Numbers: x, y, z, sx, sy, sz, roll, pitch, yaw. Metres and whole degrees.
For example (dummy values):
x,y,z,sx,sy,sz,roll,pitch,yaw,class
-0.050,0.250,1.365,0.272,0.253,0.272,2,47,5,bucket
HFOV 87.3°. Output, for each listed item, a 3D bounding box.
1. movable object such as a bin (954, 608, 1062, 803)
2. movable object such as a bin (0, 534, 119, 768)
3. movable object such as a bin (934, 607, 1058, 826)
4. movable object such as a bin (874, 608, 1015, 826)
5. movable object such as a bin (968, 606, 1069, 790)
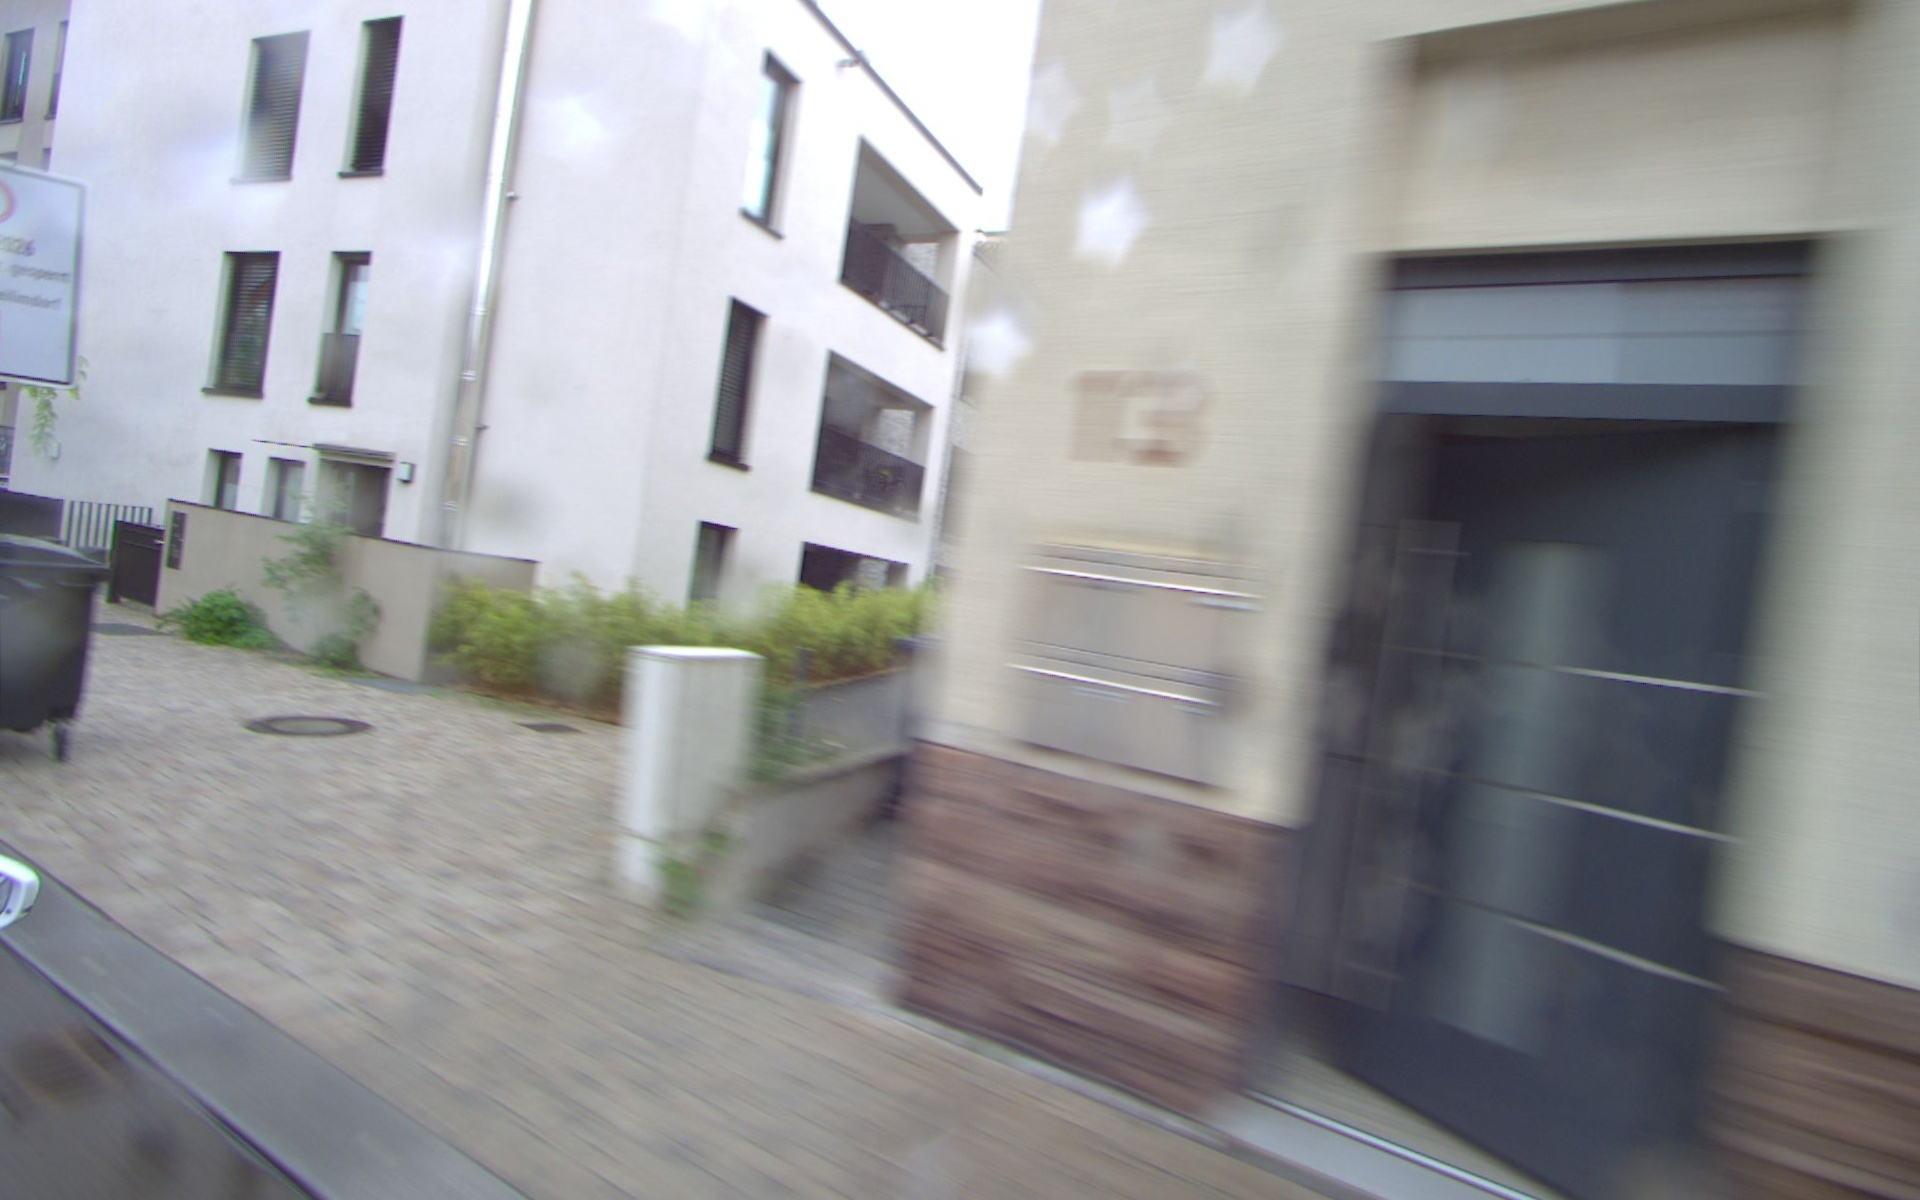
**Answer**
x,y,z,sx,sy,sz,roll,pitch,yaw,class
0.382,0.791,7.842,0.609,1.398,0.599,6,2,13,movable object such as a bin
-5.570,0.224,5.708,1.516,1.187,0.767,6,0,35,movable object such as a bin
0.263,0.784,7.045,0.609,1.397,0.600,7,1,13,movable object such as a bin
-0.084,0.699,6.336,0.609,1.222,0.639,8,3,13,movable object such as a bin
0.495,0.782,8.315,0.609,1.398,0.599,6,2,13,movable object such as a bin
